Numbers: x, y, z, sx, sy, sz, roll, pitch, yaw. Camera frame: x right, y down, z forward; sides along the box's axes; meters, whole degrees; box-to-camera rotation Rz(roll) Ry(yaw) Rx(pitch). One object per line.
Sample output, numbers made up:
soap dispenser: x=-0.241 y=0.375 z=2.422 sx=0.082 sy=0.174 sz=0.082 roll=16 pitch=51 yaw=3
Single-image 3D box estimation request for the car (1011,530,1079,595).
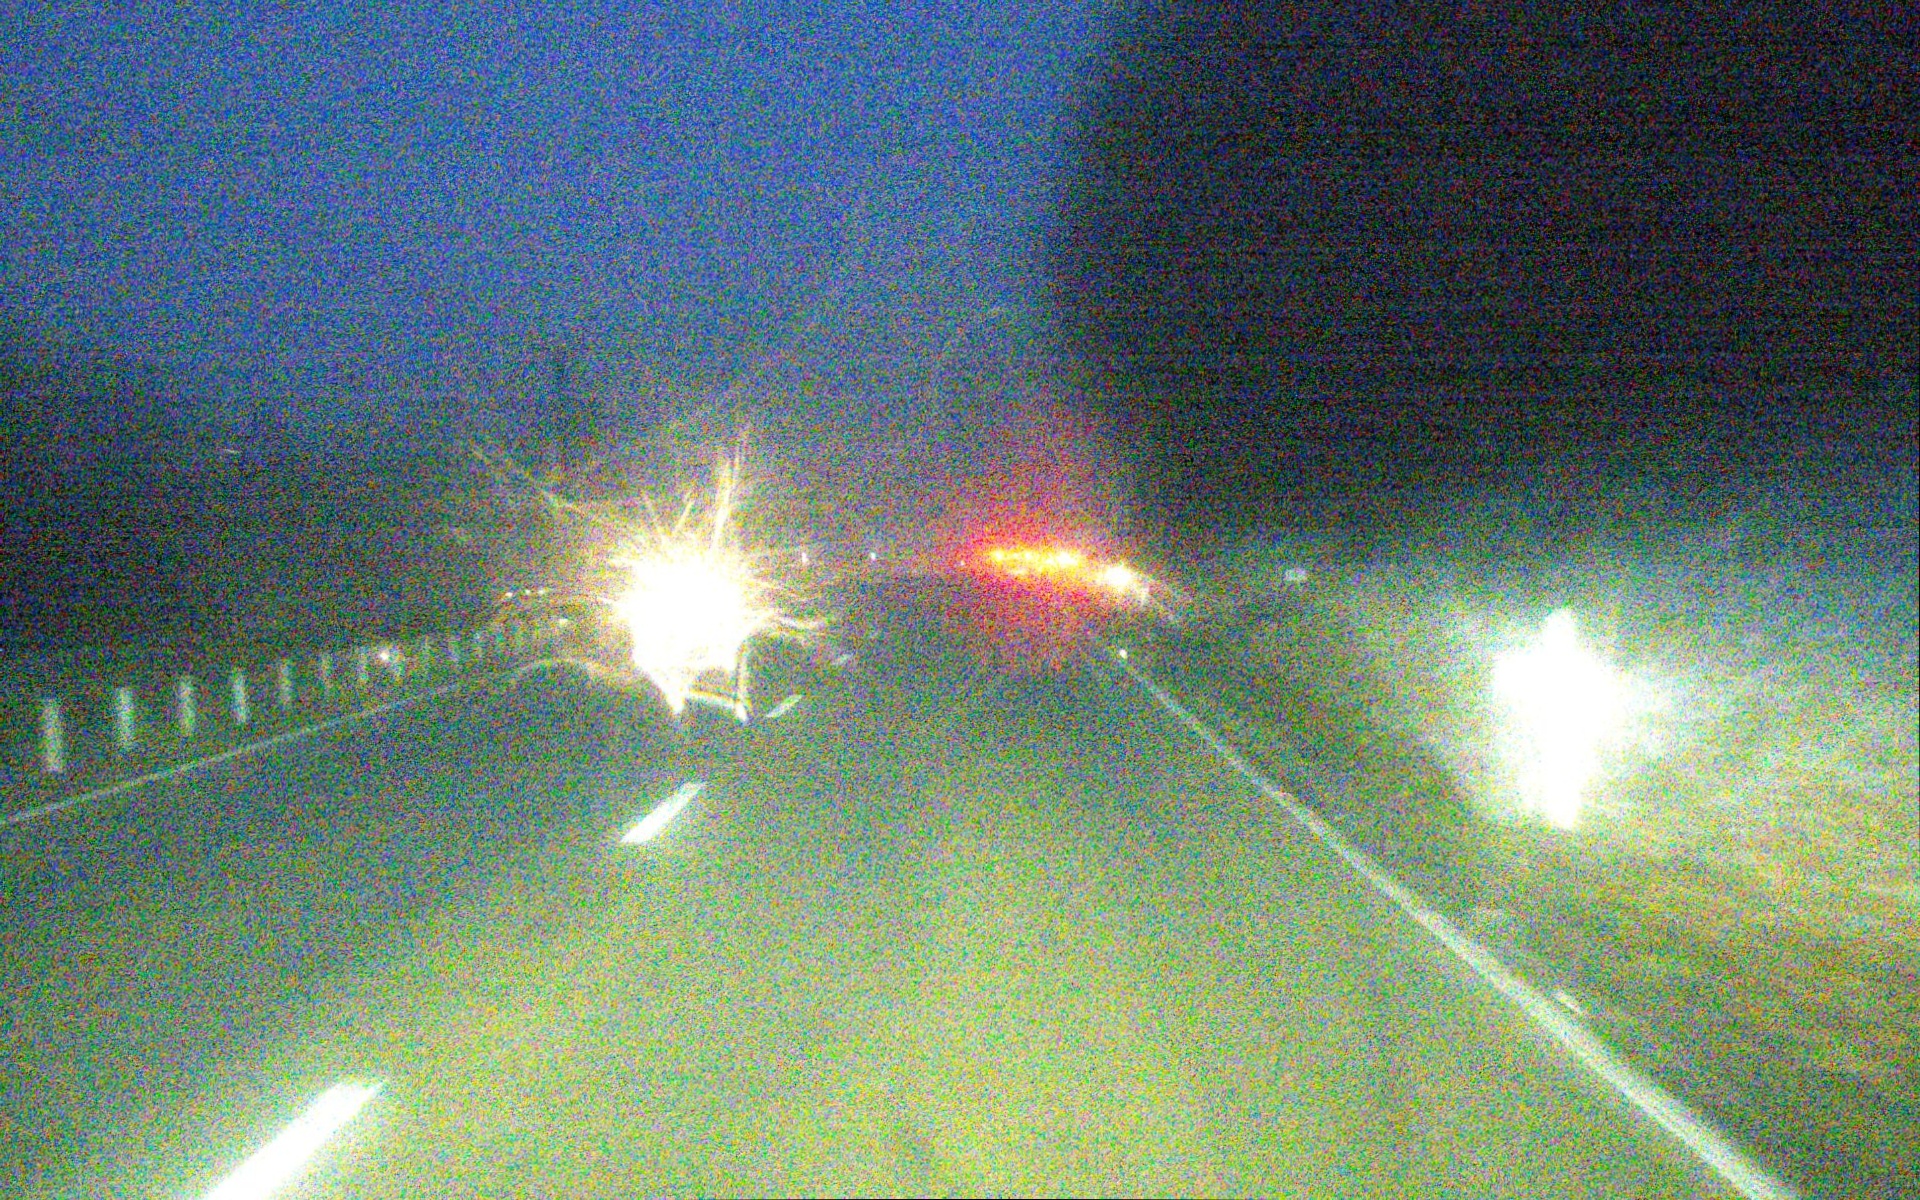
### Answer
car: x=2.844 y=-1.225 z=114.623 sx=2.197 sy=2.007 sz=4.206 roll=0 pitch=-2 yaw=2
